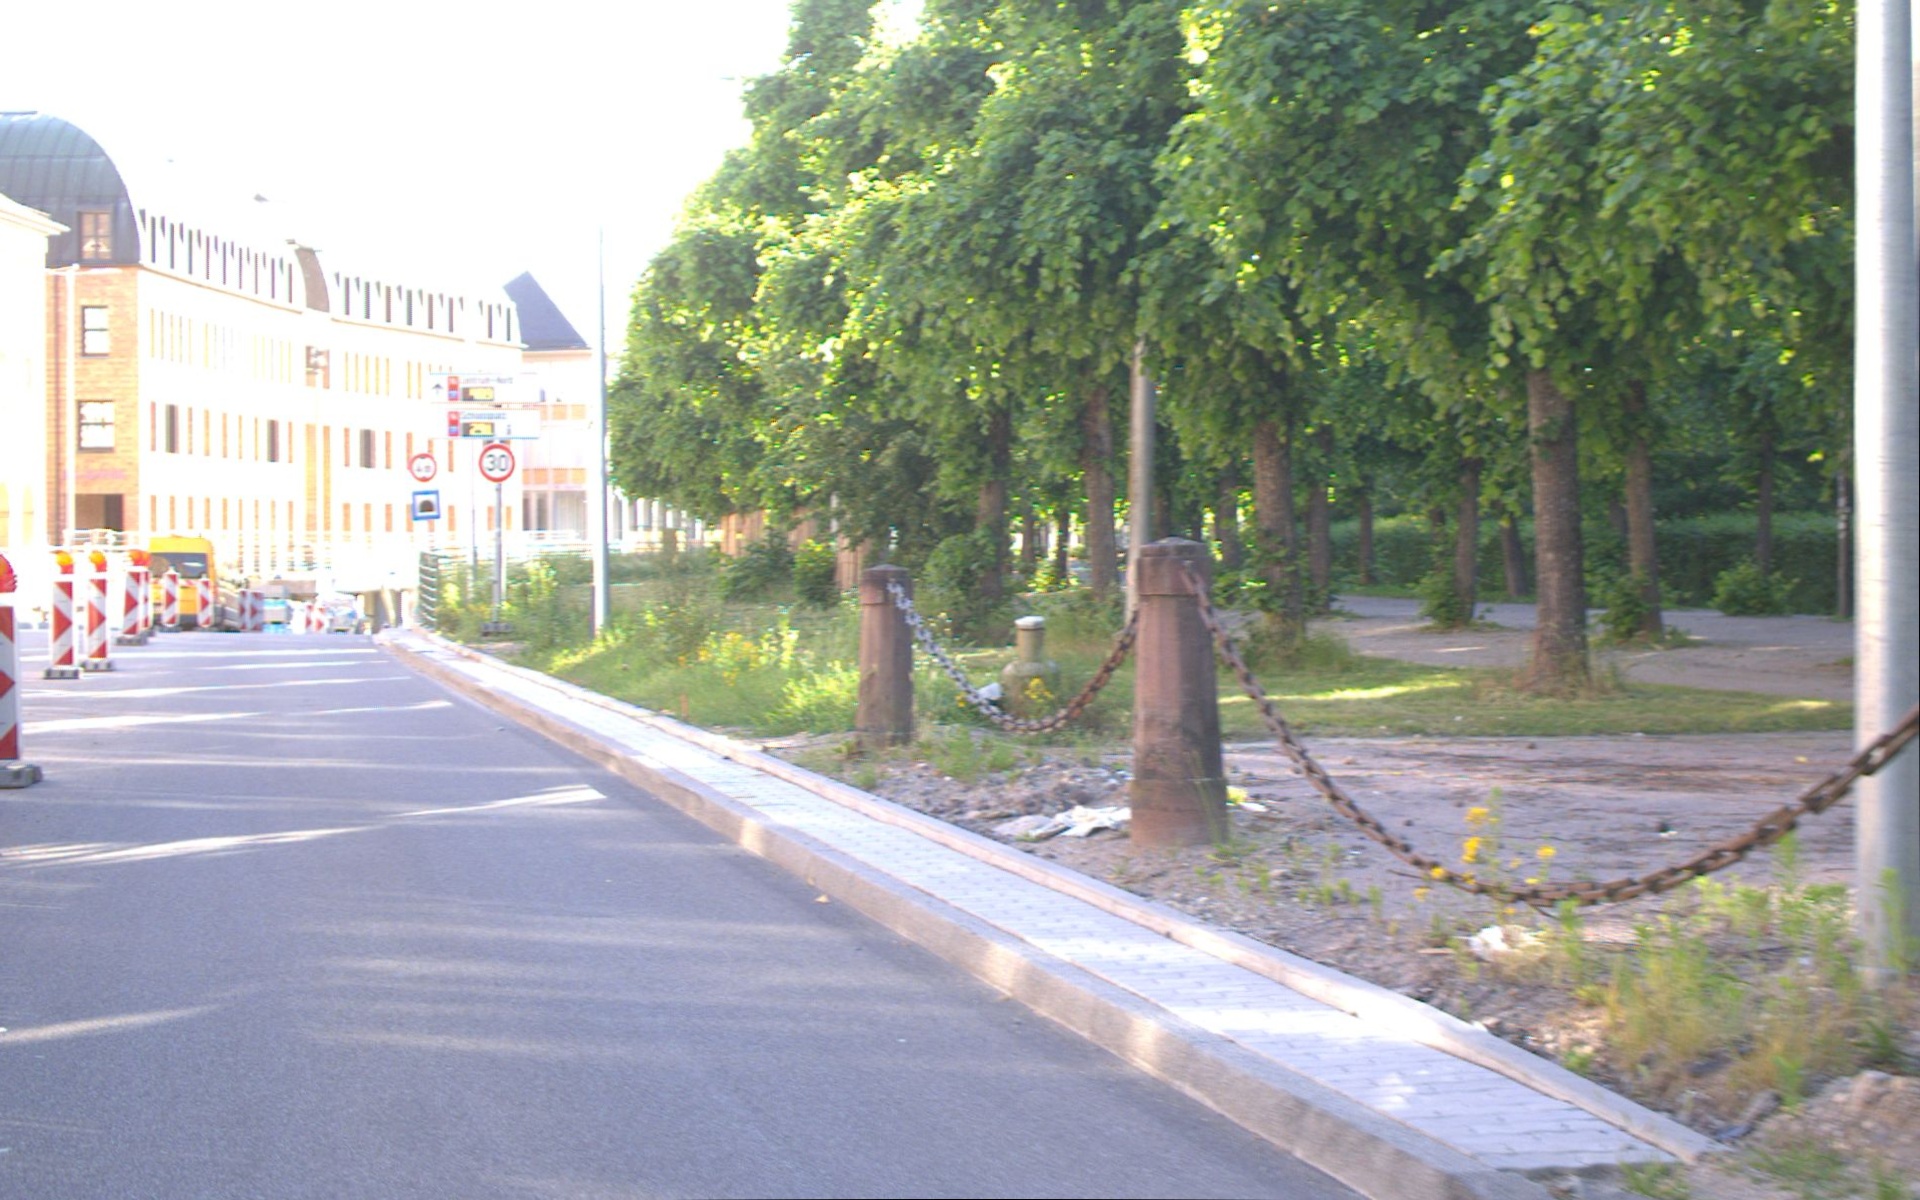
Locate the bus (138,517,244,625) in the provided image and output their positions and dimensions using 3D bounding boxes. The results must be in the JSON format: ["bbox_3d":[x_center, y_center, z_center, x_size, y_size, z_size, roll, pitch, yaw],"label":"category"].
[{"bbox_3d":[-19.926,-0.720,89.250,2.072,2.677,4.684,0,-1,-5],"label":"bus"}]
